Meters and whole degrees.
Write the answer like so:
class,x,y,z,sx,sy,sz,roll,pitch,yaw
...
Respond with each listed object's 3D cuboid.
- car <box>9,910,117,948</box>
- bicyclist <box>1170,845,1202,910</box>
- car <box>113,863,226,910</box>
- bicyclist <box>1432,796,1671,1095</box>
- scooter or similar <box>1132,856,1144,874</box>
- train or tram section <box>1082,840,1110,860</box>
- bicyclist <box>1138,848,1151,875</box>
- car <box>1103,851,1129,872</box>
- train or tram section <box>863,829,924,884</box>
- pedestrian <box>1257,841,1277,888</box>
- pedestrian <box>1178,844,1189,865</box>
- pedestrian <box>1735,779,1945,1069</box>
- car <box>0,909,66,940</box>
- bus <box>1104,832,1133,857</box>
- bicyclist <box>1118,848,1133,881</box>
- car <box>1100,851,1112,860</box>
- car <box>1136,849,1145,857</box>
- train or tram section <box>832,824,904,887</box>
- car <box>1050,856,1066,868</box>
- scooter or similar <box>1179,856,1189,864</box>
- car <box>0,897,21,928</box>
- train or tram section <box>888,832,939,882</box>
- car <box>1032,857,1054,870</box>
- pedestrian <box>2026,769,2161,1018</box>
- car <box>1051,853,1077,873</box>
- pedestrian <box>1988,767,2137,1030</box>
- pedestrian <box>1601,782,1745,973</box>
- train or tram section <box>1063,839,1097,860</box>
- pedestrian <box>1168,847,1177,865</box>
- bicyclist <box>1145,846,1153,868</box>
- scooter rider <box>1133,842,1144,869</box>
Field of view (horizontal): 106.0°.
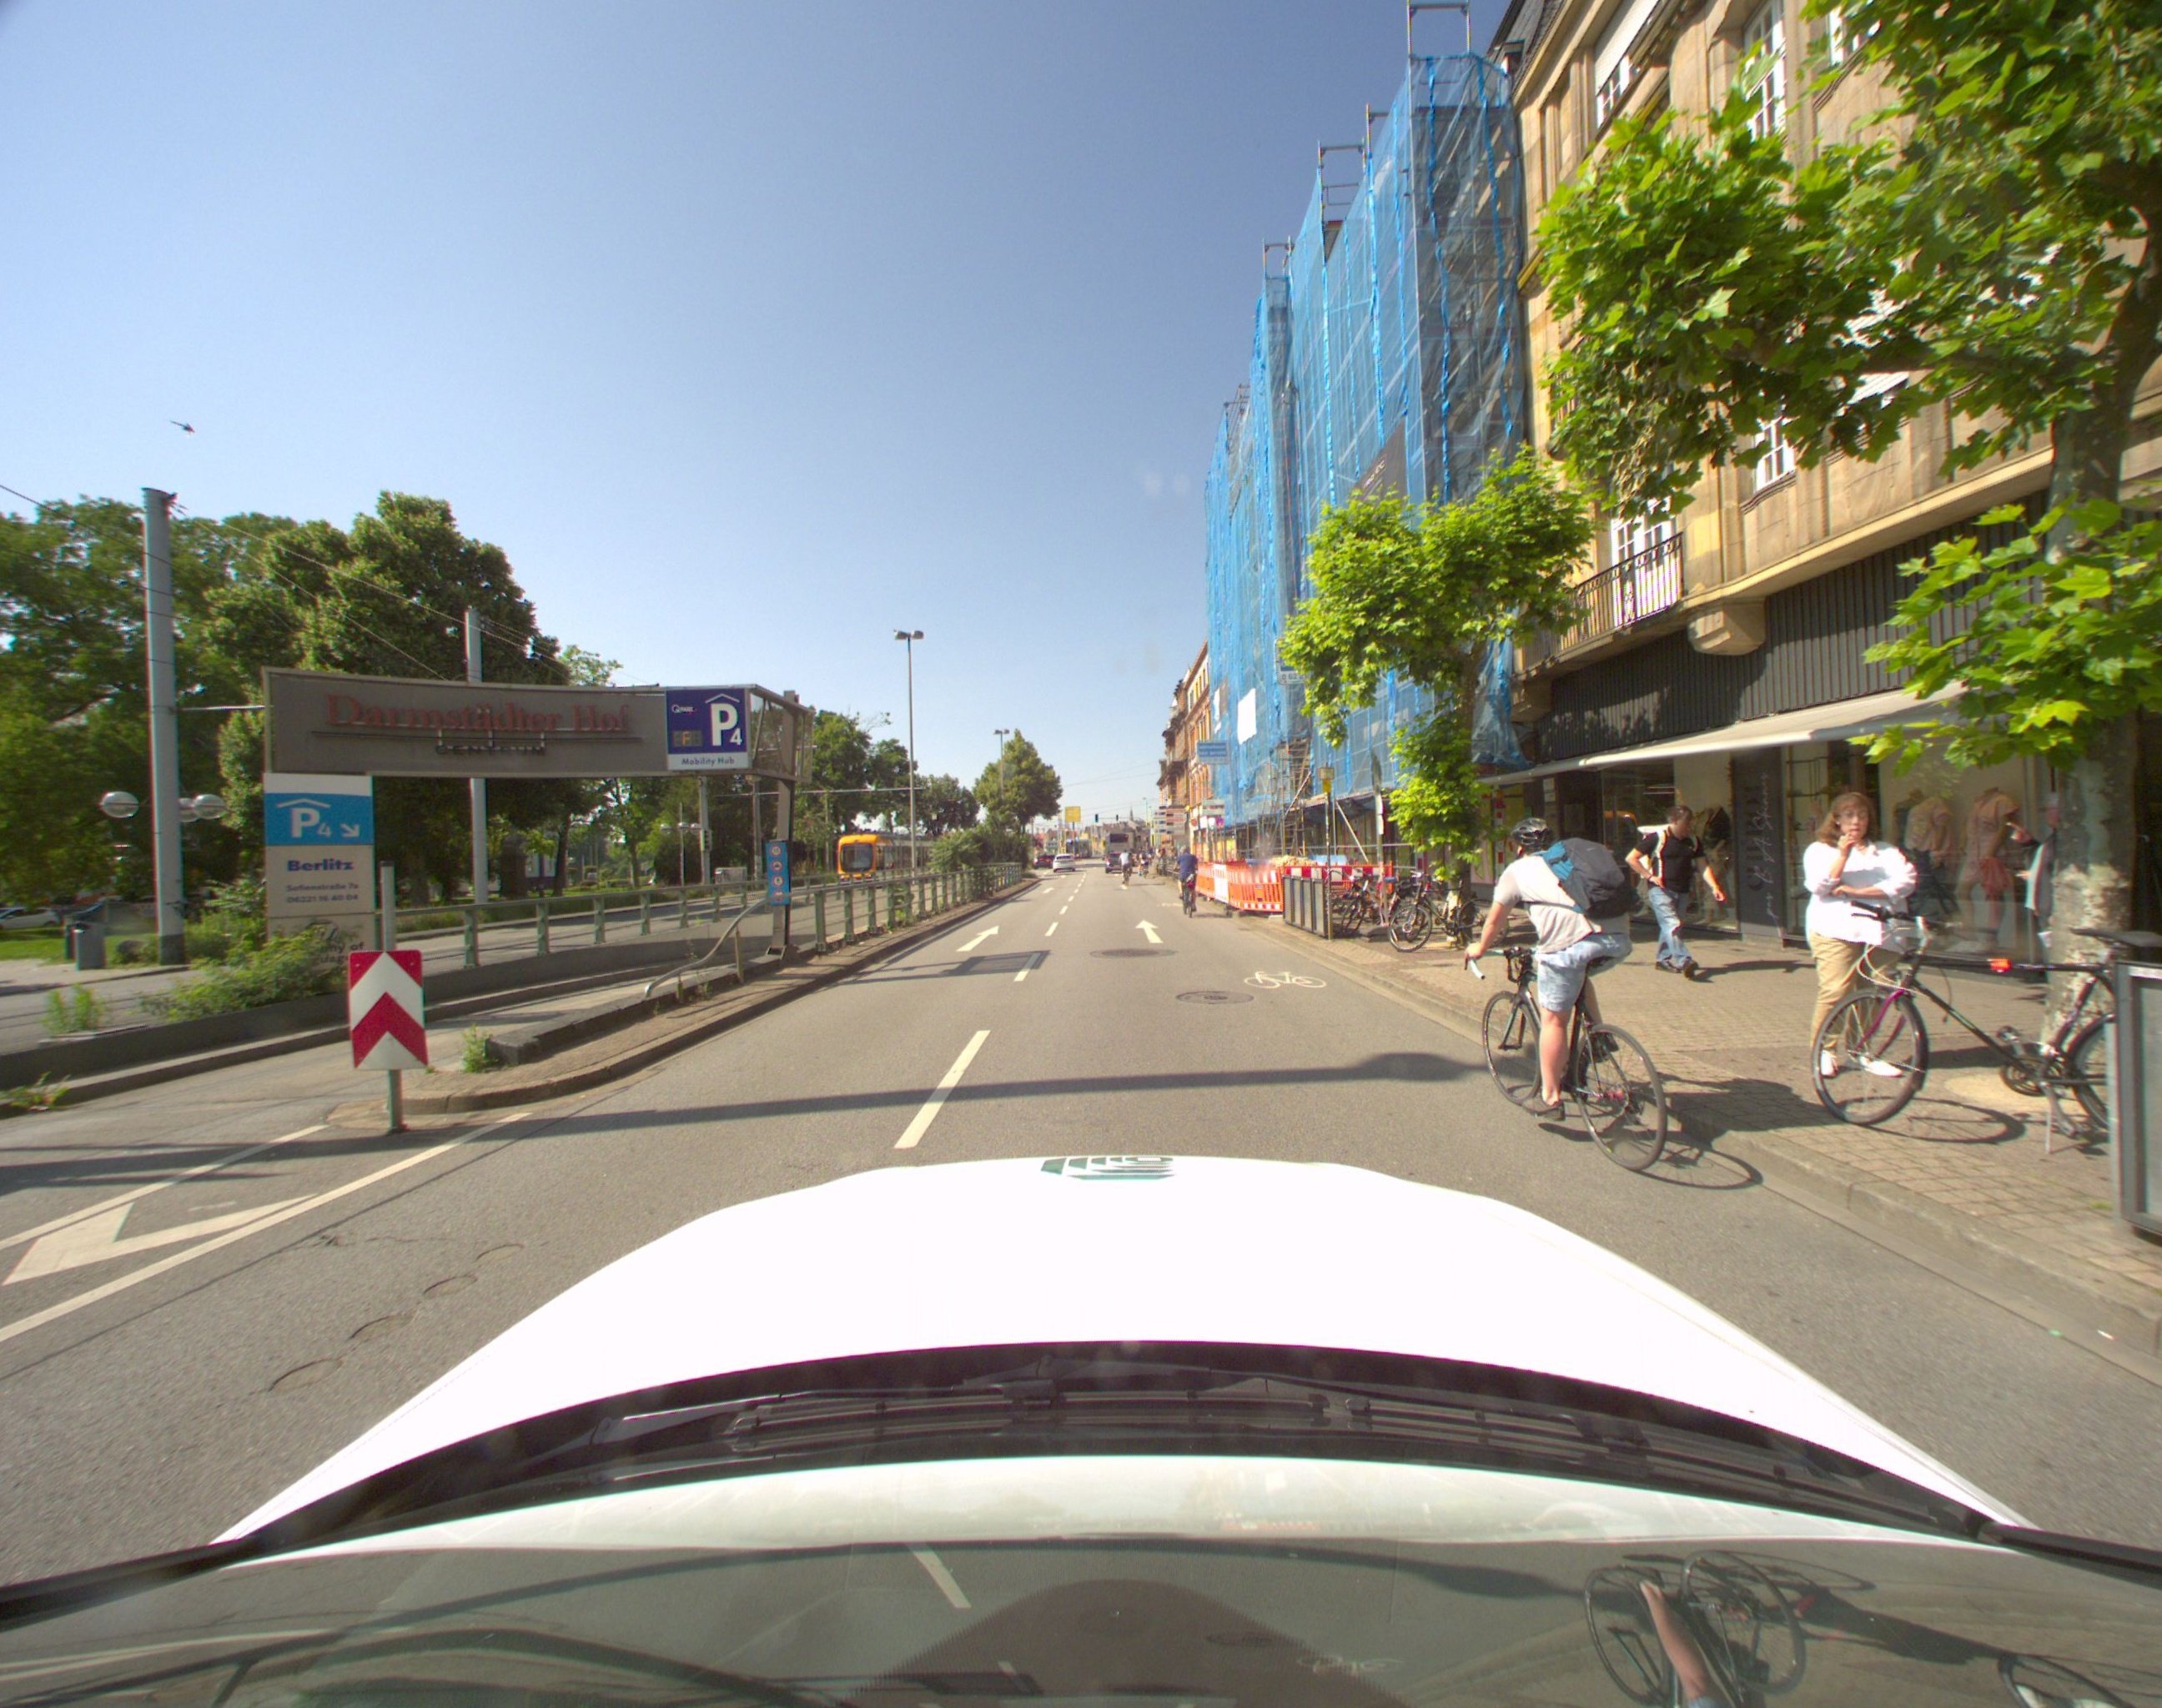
class,x,y,z,sx,sy,sz,roll,pitch,yaw
car,-62.434,4.548,50.058,1.986,2.014,3.644,0,-1,1
bicyclist,2.640,0.581,20.468,0.686,1.616,0.918,0,-1,0
car,-67.803,2.355,60.743,2.119,3.316,5.420,0,-1,1
bicyclist,2.554,0.452,4.570,0.686,1.463,1.143,0,-1,0
scooter or similar,3.724,0.741,53.205,0.686,1.167,1.464,0,-1,2
train or tram section,2.908,-0.614,150.672,2.799,3.581,8.265,0,-1,19
bicyclist,3.782,0.438,48.633,0.686,1.577,1.049,0,-1,0
car,2.587,0.573,59.640,1.866,1.493,4.002,0,-1,2
train or tram section,-12.780,0.170,55.993,2.604,3.581,6.105,0,-1,1
pedestrian,7.016,0.400,30.757,0.637,1.776,0.649,0,-1,1
pedestrian,8.720,0.056,69.427,0.753,1.656,0.837,-5,-1,0
pedestrian,4.718,0.420,5.118,0.652,1.683,0.655,-2,-2,10
car,-58.863,3.857,44.537,1.752,1.508,3.994,0,-1,-4
bus,4.410,-1.116,96.937,2.960,2.776,8.638,0,-1,-1
bicyclist,2.197,0.512,40.128,0.686,1.577,1.049,0,-1,0
car,3.681,0.269,119.968,1.444,1.301,3.347,0,-1,6
car,13.434,-0.209,184.932,1.985,1.878,4.004,-2,0,4
train or tram section,-12.928,0.114,49.897,2.604,3.581,6.105,0,-1,1
car,-2.595,0.870,91.598,1.446,1.301,4.002,0,-1,3
scooter or similar,8.710,0.527,68.834,0.689,0.650,0.565,-5,-1,0
car,-61.136,3.284,43.937,1.752,1.663,4.836,0,-1,-4
train or tram section,-12.632,0.224,61.743,2.604,3.581,5.358,0,-1,1
car,-3.799,0.947,82.128,1.808,1.332,4.002,0,-1,2
pedestrian,7.169,0.270,5.781,0.377,1.683,0.480,-3,-1,28
car,-1.356,0.732,66.255,1.851,1.507,4.002,0,-1,2
pedestrian,6.694,0.287,5.582,0.493,1.683,0.540,-5,-2,43
pedestrian,6.131,0.245,8.495,0.809,1.848,0.893,-3,-1,9
train or tram section,-0.054,-0.710,141.984,2.799,3.581,10.079,0,-1,19
pedestrian,8.209,0.162,73.006,0.652,1.620,0.815,-2,0,0
bicyclist,6.175,0.288,73.734,0.686,1.962,0.778,0,-1,1
scooter rider,3.746,0.088,53.251,0.686,1.729,0.778,0,-1,1
